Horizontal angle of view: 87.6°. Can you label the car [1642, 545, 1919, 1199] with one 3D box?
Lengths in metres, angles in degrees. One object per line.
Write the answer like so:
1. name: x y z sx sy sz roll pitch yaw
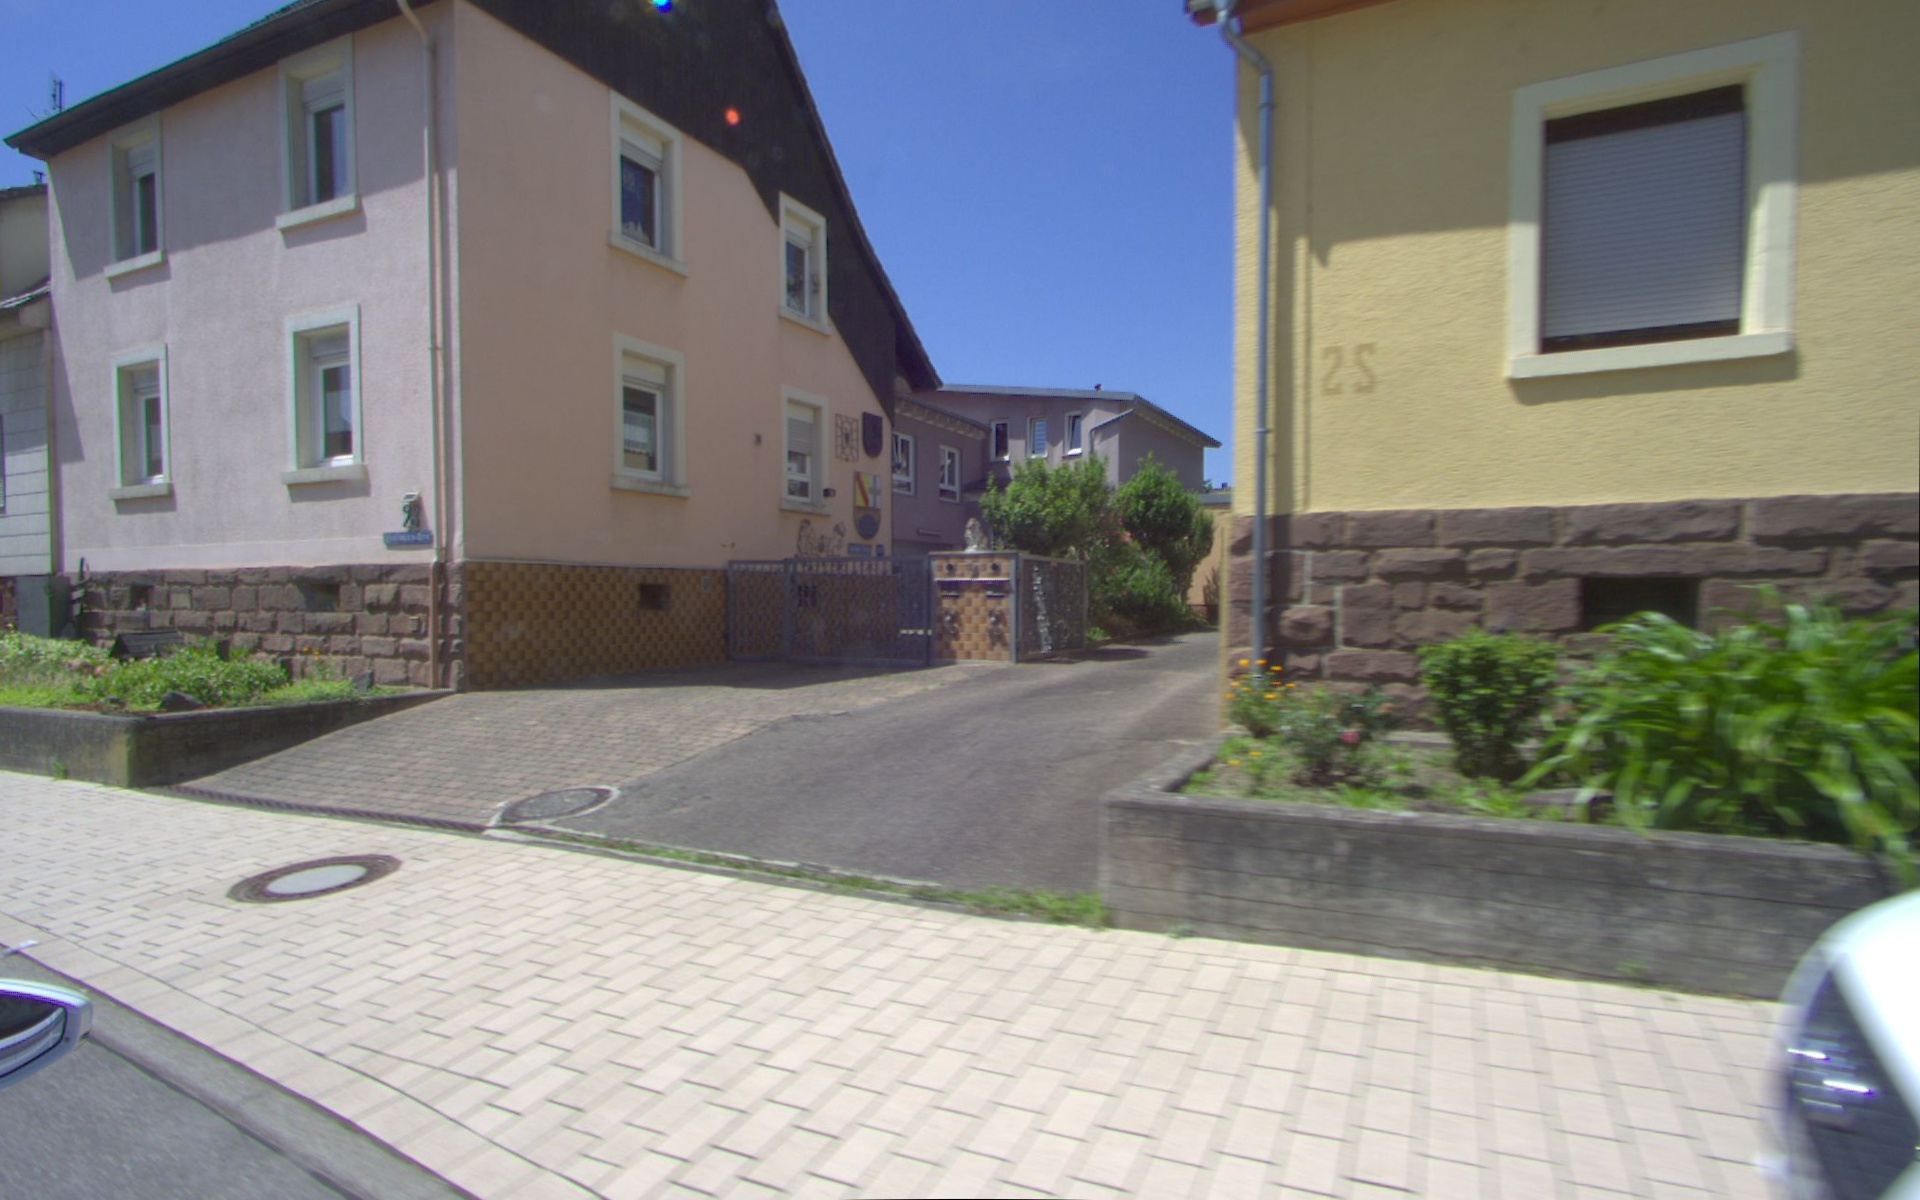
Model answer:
1. car: 3.073 0.588 0.384 4.568 1.437 1.751 -2 1 33
